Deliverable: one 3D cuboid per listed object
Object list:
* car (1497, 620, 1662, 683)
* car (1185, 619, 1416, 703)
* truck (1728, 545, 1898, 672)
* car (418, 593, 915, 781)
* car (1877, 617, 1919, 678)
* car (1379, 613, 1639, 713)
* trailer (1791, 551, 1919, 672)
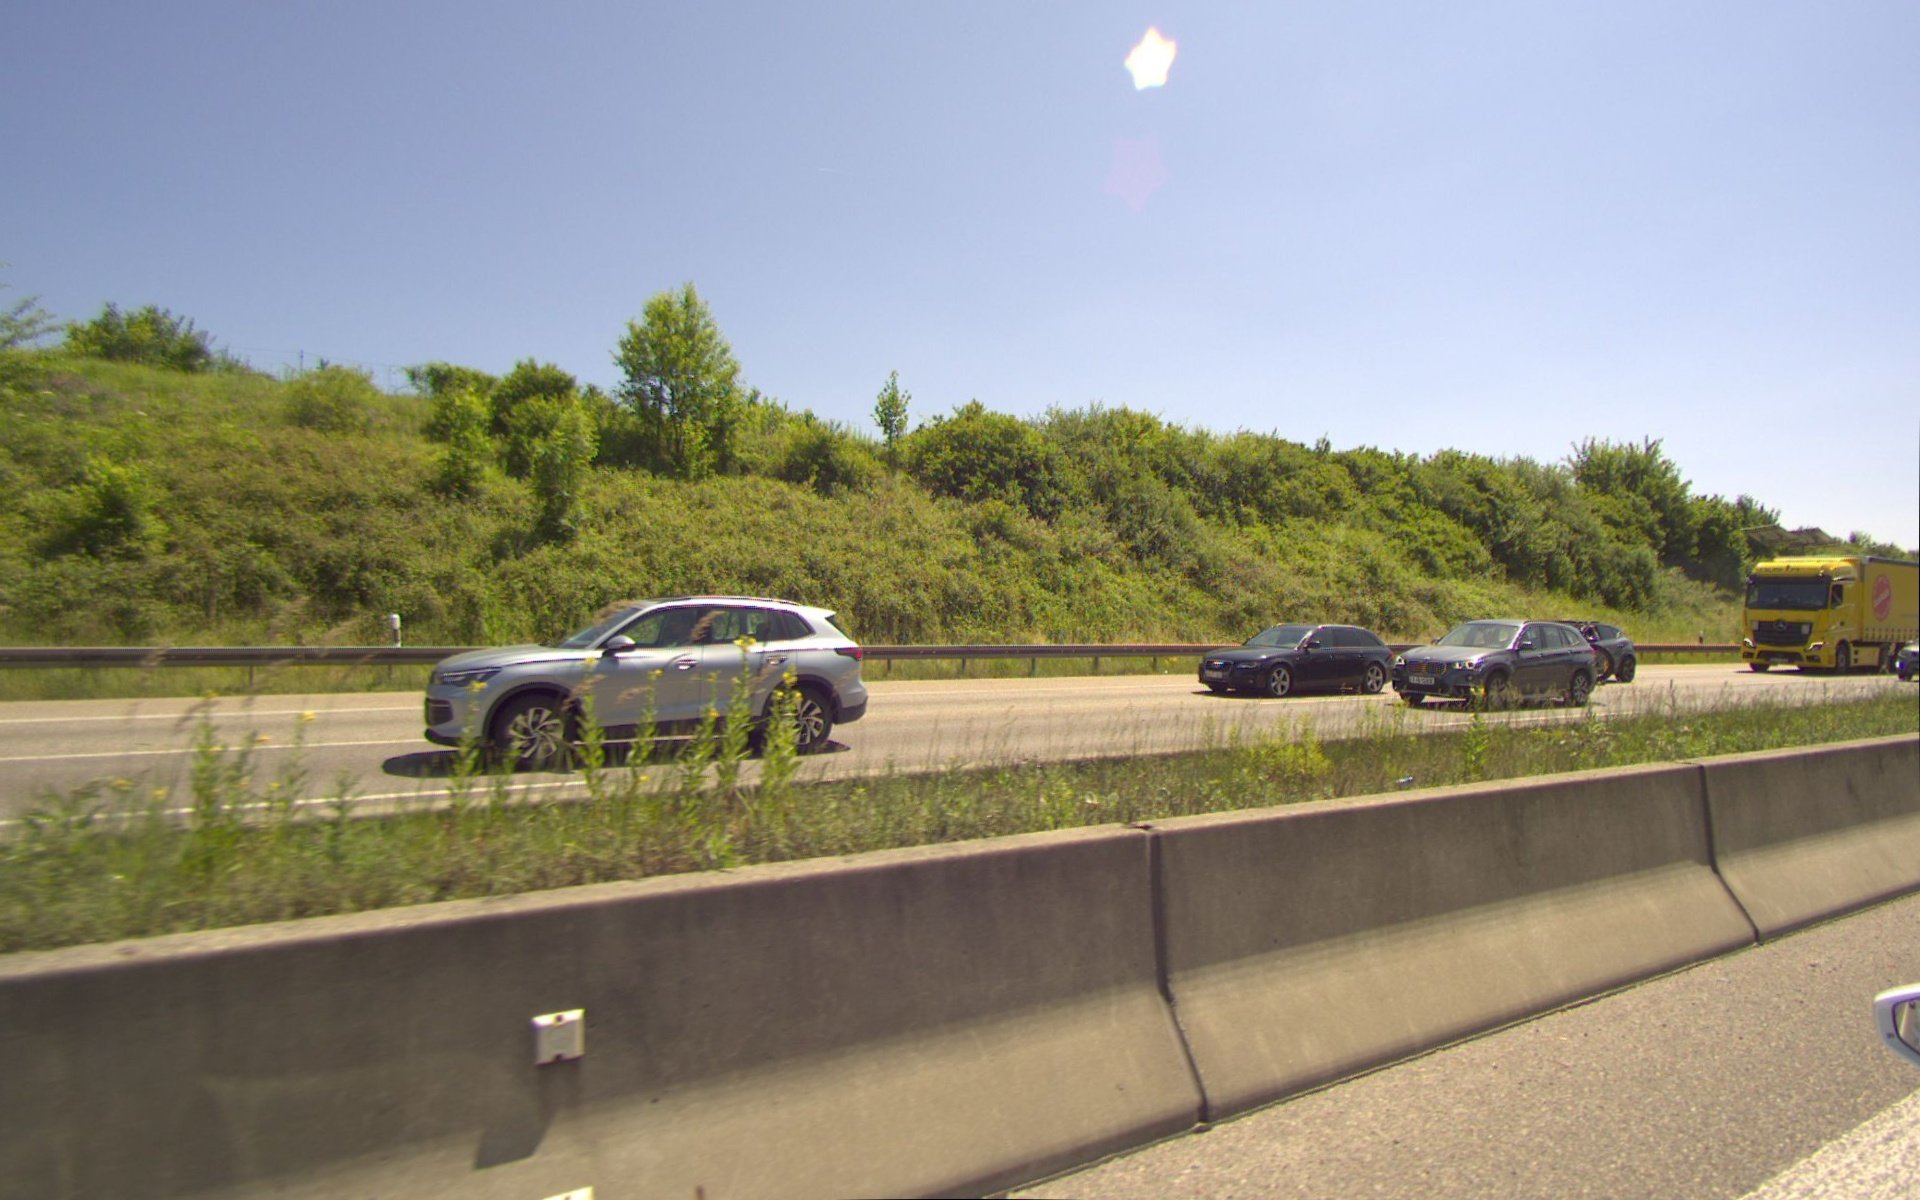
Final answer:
[{"bbox_3d":[16.631,1.355,26.917,4.546,1.533,1.803,2,-1,-30],"label":"car"},{"bbox_3d":[7.028,1.205,20.605,4.741,1.533,1.803,2,-1,-30],"label":"car"},{"bbox_3d":[29.909,0.360,35.188,6.060,4.118,2.590,2,0,-30],"label":"truck"},{"bbox_3d":[-3.055,0.826,10.817,4.850,1.650,1.803,2,-1,-30],"label":"car"},{"bbox_3d":[30.796,1.483,31.105,5.831,1.775,1.854,2,-1,-30],"label":"car"},{"bbox_3d":[10.435,1.139,18.956,5.318,1.650,1.803,2,-1,-30],"label":"car"},{"bbox_3d":[36.540,0.557,38.976,11.714,4.199,2.638,2,0,-30],"label":"trailer"}]
